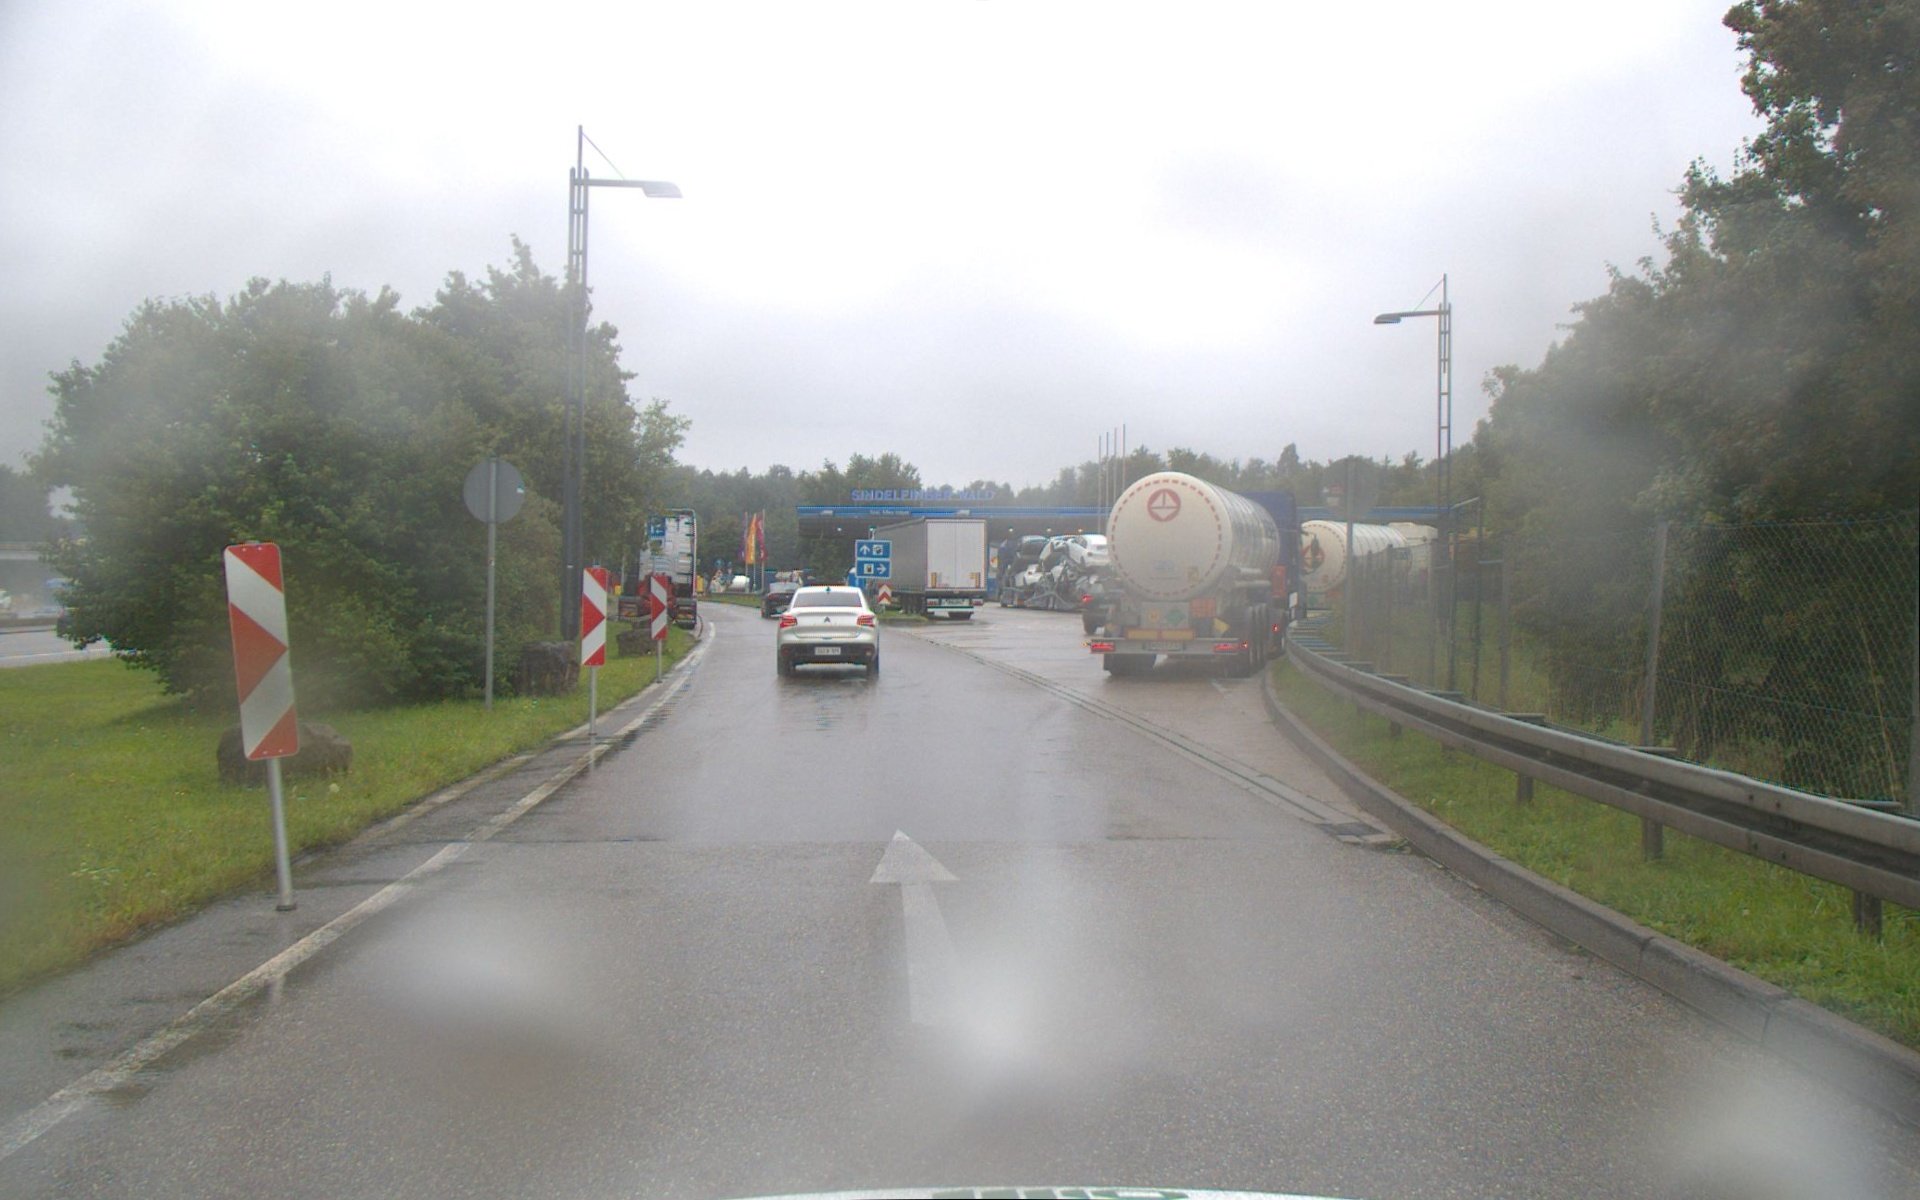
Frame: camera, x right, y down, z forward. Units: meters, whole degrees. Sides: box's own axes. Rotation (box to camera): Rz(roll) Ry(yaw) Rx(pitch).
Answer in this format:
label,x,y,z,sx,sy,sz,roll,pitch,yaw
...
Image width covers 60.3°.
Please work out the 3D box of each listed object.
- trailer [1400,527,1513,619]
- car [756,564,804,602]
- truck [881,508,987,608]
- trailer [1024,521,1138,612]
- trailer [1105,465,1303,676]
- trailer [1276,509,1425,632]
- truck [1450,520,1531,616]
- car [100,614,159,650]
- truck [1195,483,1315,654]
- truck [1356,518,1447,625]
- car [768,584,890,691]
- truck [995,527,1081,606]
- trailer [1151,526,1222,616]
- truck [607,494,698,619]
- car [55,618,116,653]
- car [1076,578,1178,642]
label,x,y,z,sx,sy,sz,roll,pitch,yaw
trailer,19.871,-1.051,65.901,2.145,3.451,7.538,0,1,35
car,-7.474,-0.684,68.812,1.842,1.487,3.996,1,0,-5
truck,-1.304,-1.766,71.590,2.328,3.941,12.419,0,1,-11
trailer,5.972,-1.681,84.396,3.157,4.262,11.505,1,1,-9
trailer,4.837,-0.505,30.960,1.939,3.281,10.326,1,1,18
trailer,12.450,-0.892,51.971,2.090,3.500,10.239,0,1,28
truck,22.328,-1.332,69.480,2.143,3.895,4.128,0,1,35
car,-41.339,1.588,82.399,1.745,1.766,3.834,0,-1,-13
truck,6.738,-0.695,37.417,2.010,3.593,4.748,1,0,18
truck,15.451,-0.985,57.716,2.105,3.574,4.640,0,1,28
car,-2.225,0.645,29.083,1.953,1.709,3.998,-1,-1,-2
truck,4.350,-1.907,94.244,3.174,4.261,8.426,1,1,-9
trailer,12.384,-1.537,91.070,1.954,4.639,9.802,1,0,-4
truck,-10.439,-1.429,56.127,2.863,3.972,6.299,0,1,-11
car,-46.068,1.851,87.222,1.745,1.766,4.087,-1,0,-12
car,5.094,0.330,50.157,1.709,1.696,3.995,2,-2,27
